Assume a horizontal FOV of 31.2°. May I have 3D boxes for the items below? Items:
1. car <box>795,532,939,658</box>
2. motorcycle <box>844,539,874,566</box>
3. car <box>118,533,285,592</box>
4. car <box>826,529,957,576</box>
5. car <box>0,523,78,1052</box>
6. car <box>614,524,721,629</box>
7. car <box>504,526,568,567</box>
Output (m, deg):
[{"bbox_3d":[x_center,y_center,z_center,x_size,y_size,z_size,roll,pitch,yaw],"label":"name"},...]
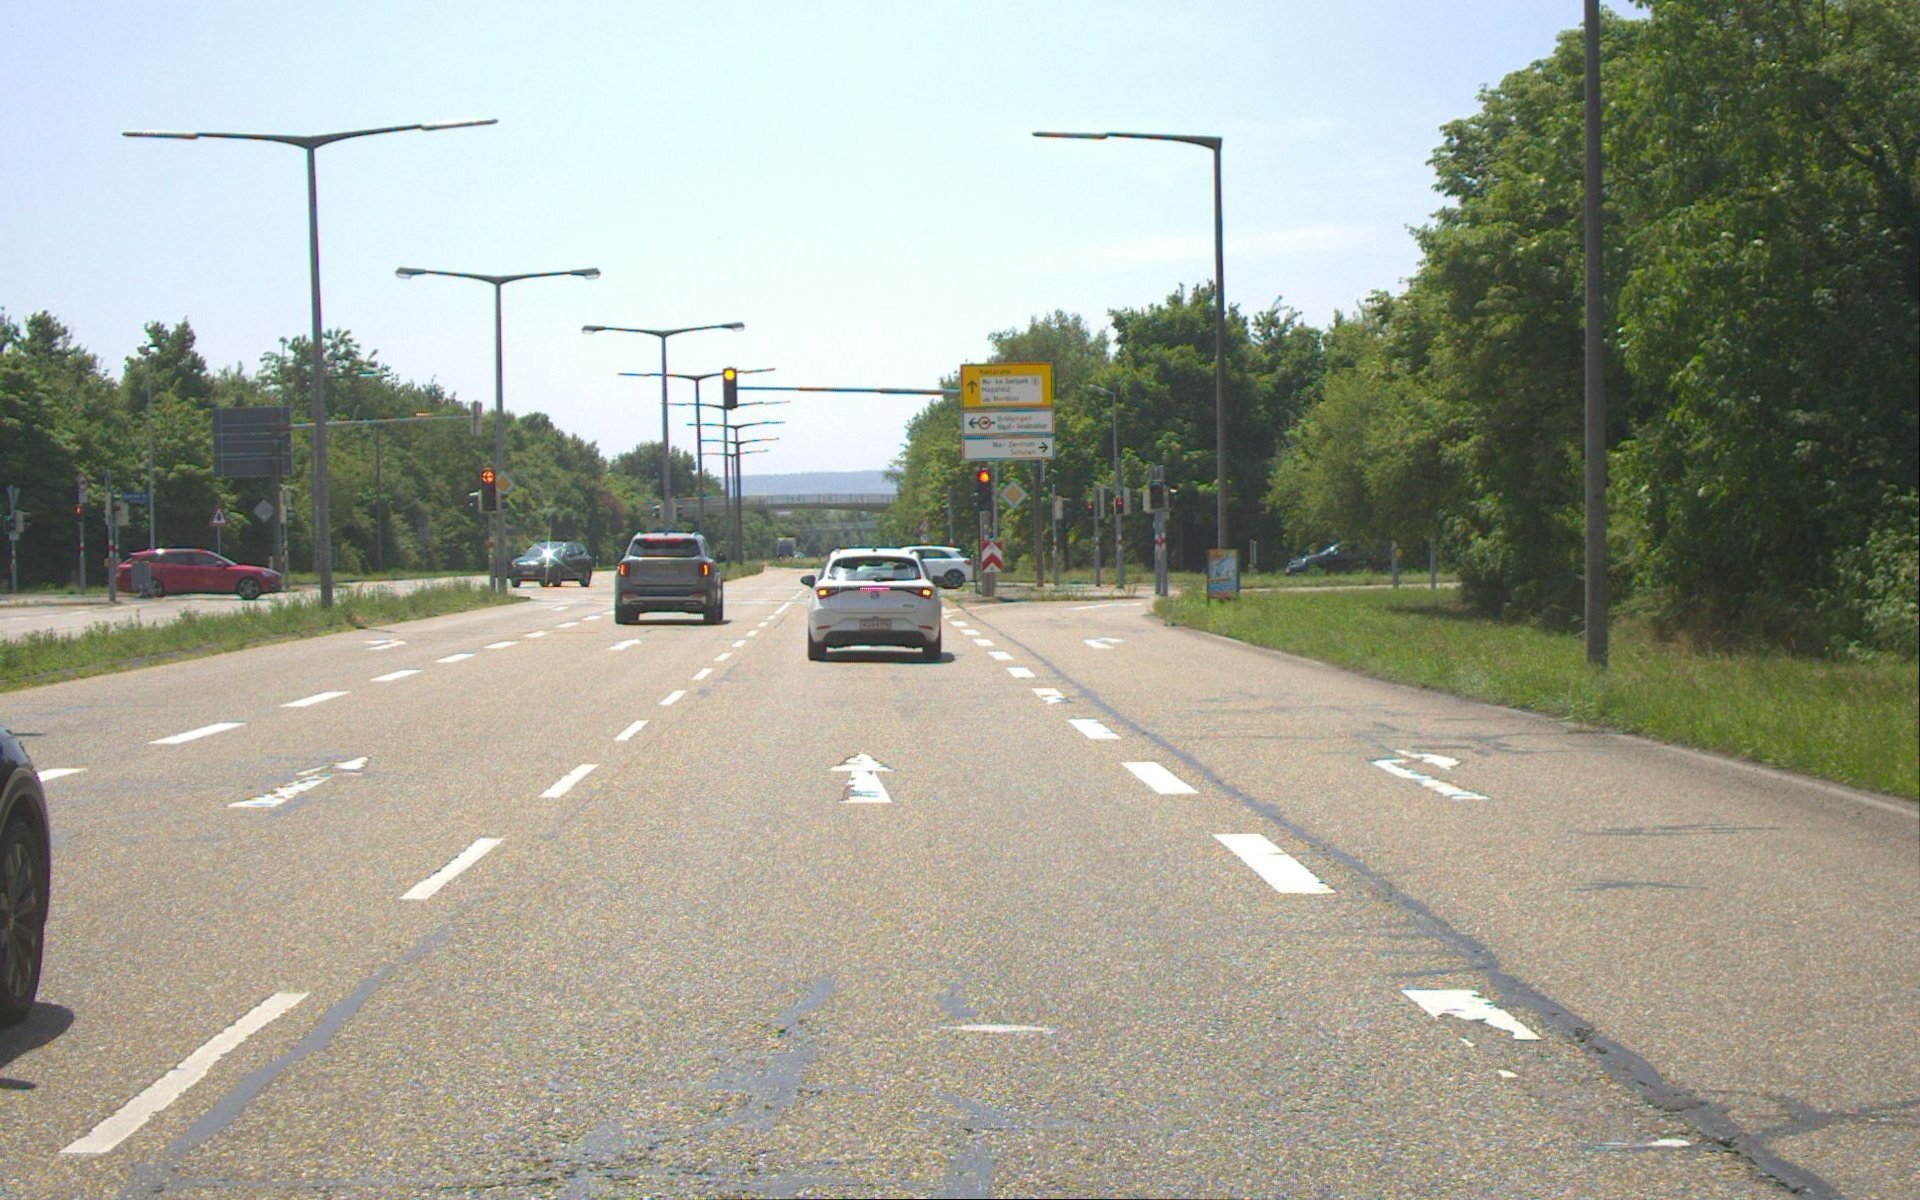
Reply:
[{"bbox_3d":[-1.190,-0.088,45.569,1.797,1.577,4.000,-1,1,0],"label":"car"},{"bbox_3d":[-5.010,-2.343,170.169,1.424,1.276,2.569,-2,1,-1],"label":"motorcycle"},{"bbox_3d":[-21.531,-1.079,97.736,4.522,1.635,1.978,0,1,-9],"label":"car"},{"bbox_3d":[-2.281,-1.587,114.299,4.100,1.520,1.939,-1,1,-9],"label":"car"},{"bbox_3d":[-3.671,0.561,9.018,1.755,1.551,4.000,0,1,-1],"label":"car"},{"bbox_3d":[-5.503,-0.461,65.104,1.755,1.922,4.000,0,1,-1],"label":"car"},{"bbox_3d":[-15.855,-2.008,128.721,1.828,1.514,4.000,0,1,1],"label":"car"}]
